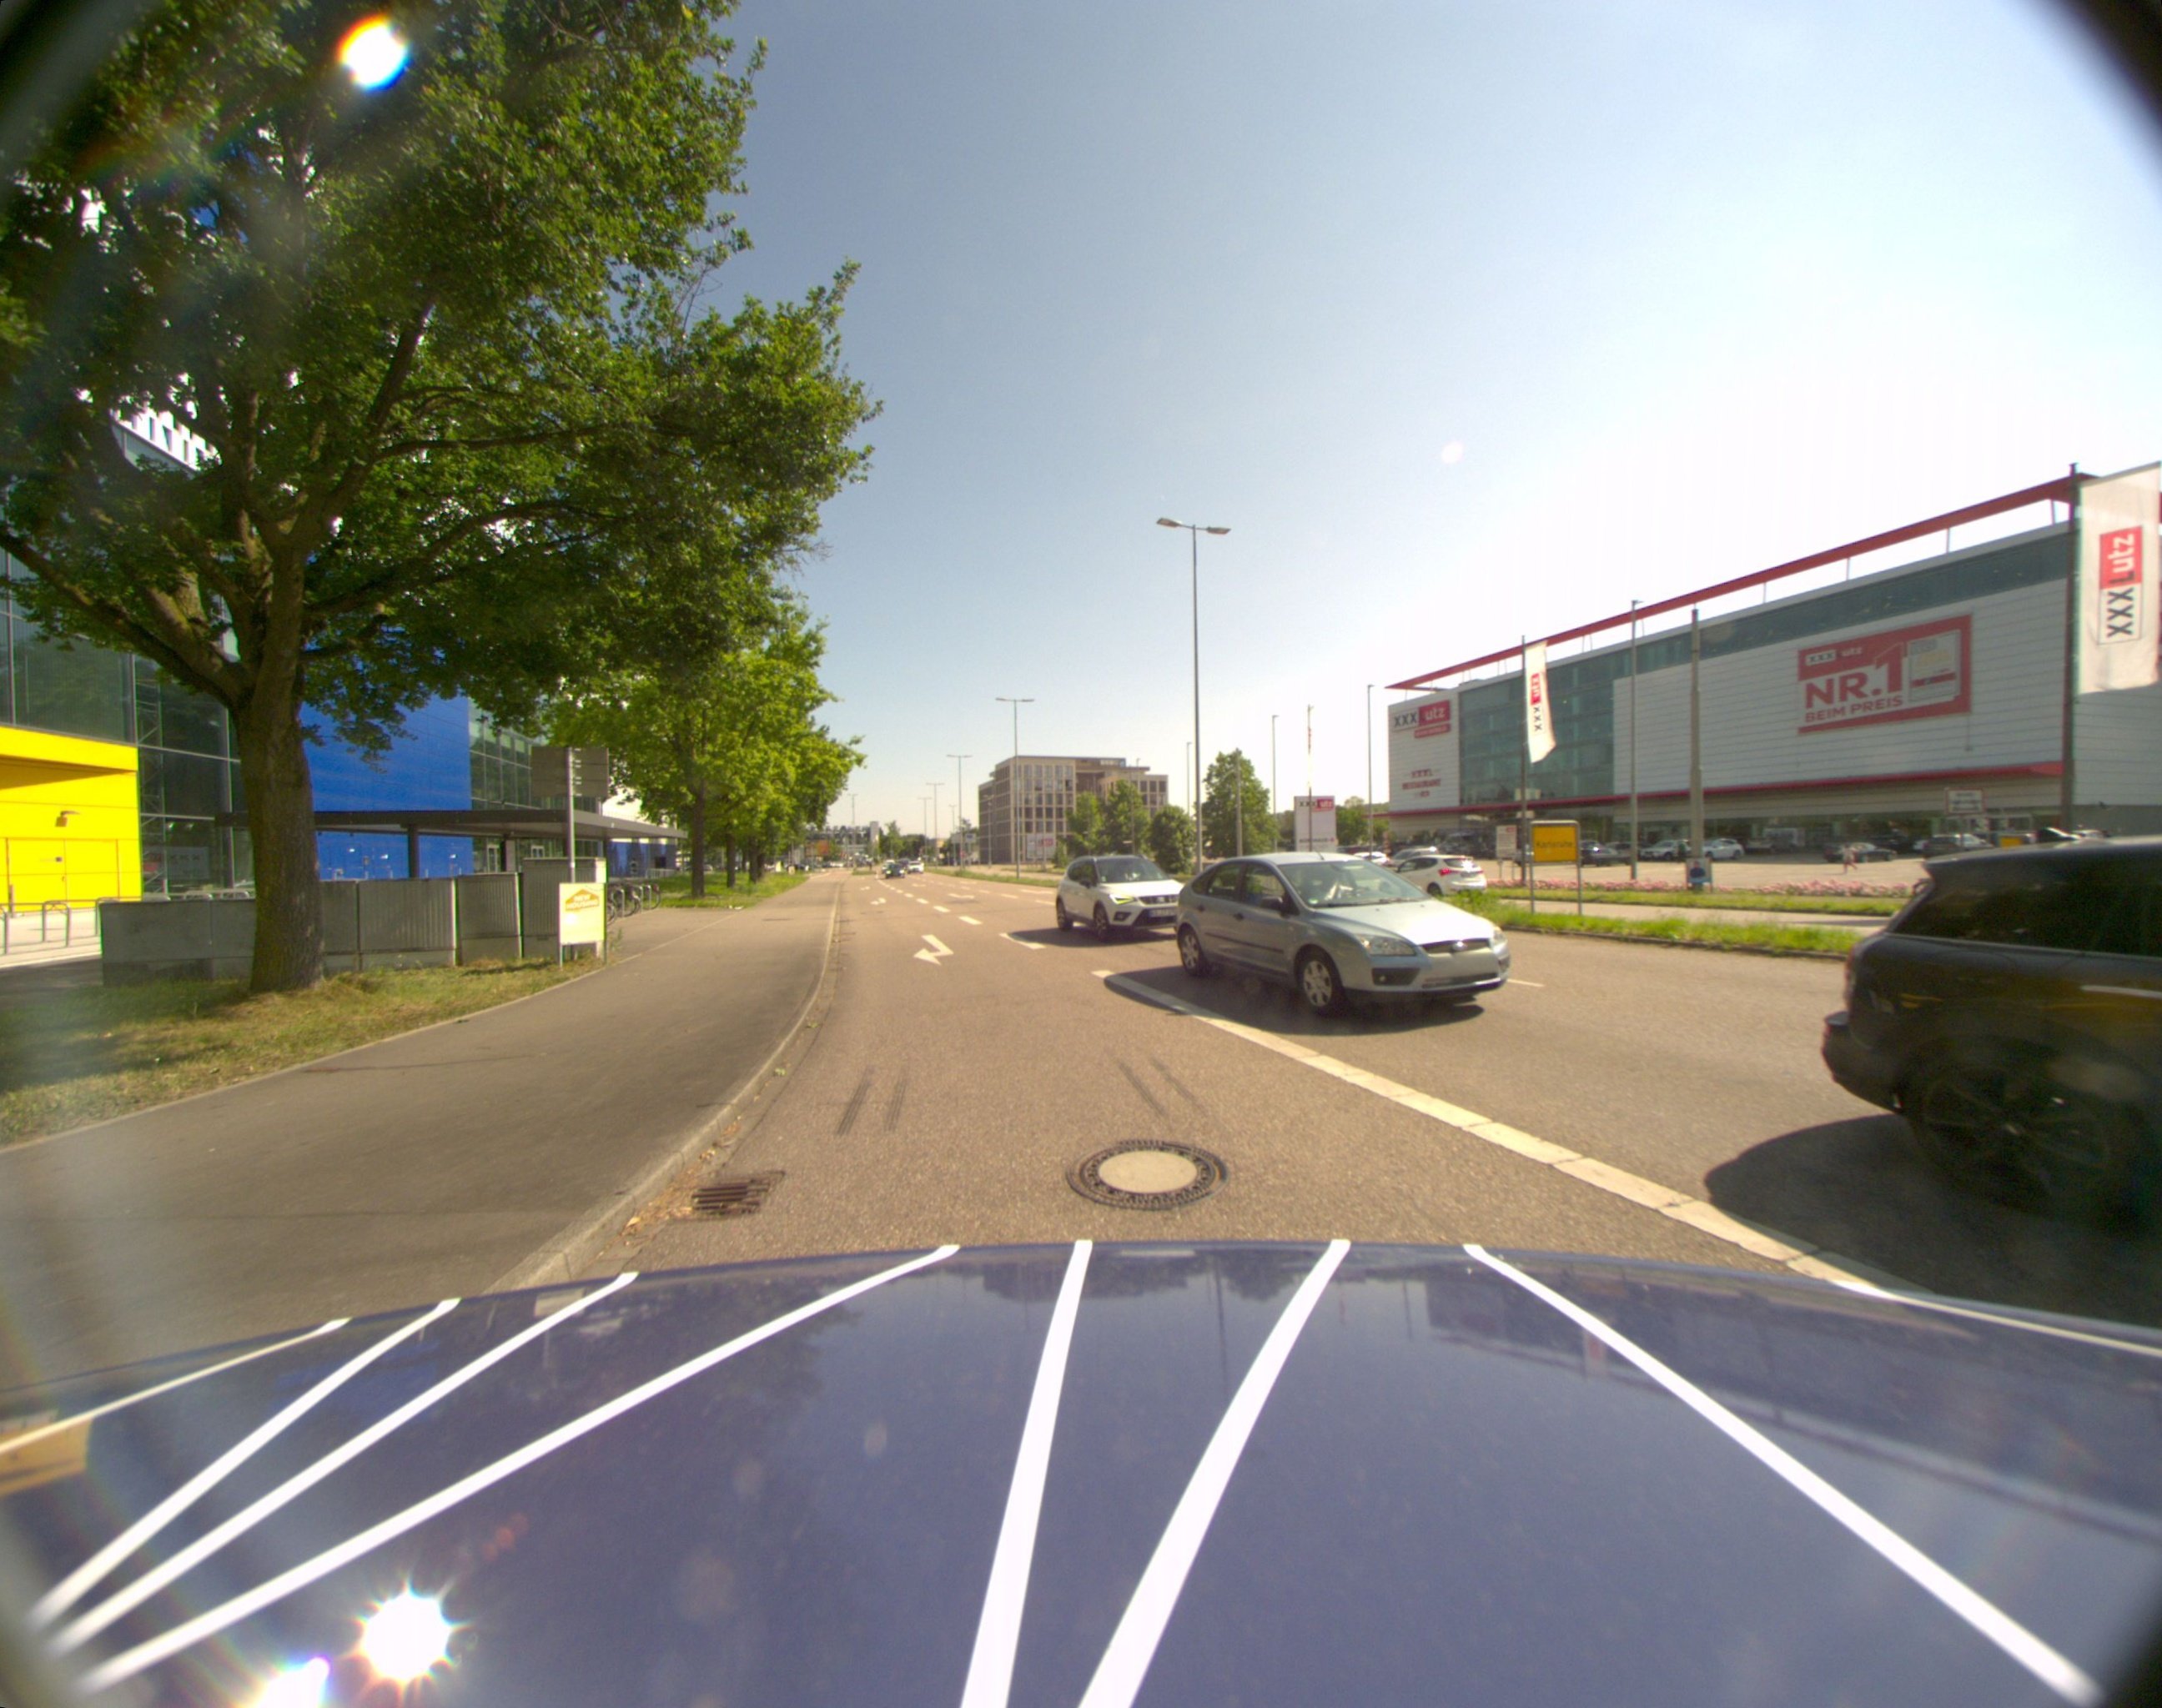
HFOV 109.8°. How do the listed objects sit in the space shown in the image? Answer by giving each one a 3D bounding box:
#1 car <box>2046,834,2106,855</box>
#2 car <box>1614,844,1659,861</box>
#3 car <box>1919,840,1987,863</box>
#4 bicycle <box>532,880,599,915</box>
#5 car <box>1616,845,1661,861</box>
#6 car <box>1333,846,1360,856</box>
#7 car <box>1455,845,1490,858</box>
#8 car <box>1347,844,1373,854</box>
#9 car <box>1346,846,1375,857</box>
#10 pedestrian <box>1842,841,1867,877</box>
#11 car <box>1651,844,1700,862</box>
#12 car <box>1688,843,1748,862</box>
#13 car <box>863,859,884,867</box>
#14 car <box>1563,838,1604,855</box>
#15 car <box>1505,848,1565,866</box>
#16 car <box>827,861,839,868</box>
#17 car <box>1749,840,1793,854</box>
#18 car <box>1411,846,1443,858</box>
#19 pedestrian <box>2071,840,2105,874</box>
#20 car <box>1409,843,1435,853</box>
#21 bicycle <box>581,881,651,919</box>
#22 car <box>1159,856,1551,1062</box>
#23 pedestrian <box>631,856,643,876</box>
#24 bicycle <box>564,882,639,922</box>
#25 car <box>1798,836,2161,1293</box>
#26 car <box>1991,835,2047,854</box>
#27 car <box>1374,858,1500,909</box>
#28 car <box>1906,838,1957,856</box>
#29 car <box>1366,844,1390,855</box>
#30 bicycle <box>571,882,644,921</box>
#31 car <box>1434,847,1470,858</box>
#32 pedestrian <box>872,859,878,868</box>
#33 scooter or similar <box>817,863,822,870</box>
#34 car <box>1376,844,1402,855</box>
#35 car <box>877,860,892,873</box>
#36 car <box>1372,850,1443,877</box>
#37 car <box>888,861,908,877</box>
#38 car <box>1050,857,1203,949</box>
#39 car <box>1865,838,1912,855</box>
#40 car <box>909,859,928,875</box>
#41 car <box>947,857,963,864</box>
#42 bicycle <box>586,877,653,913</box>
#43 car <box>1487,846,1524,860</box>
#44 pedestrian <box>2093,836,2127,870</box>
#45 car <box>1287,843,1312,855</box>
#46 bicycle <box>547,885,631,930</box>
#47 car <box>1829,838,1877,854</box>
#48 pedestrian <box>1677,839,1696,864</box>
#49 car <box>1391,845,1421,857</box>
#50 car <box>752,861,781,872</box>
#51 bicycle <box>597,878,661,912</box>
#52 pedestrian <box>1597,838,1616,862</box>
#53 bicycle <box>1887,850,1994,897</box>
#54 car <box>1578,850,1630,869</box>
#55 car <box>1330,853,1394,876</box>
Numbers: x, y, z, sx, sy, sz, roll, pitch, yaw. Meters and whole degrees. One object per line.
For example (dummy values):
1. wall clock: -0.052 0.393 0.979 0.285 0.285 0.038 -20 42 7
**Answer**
1. car: 66.854 -0.660 51.054 3.100 1.322 1.513 -1 1 -18
2. car: 46.508 -0.144 63.573 3.100 1.322 1.513 -1 1 -18
3. car: 55.410 -0.175 48.304 3.100 1.322 1.776 -1 1 -18
4. bicycle: -16.904 1.420 24.949 1.765 1.089 0.451 -1 0 -17
5. car: 46.657 -0.100 63.572 3.100 1.322 1.513 -1 1 -18
6. car: 35.250 -0.413 100.872 3.227 1.322 1.513 -1 1 -18
7. car: 41.267 -0.255 80.076 3.100 1.322 1.513 -1 1 -18
8. car: 38.859 -0.678 105.859 3.100 1.377 1.513 -1 1 -18
9. car: 36.403 -0.377 99.009 3.227 1.322 1.513 -1 1 -18
10. pedestrian: 40.736 0.250 40.017 0.782 1.884 0.499 0 0 13
11. car: 47.659 -0.086 60.911 3.419 1.322 1.586 -1 0 -22
12. car: 49.214 -0.128 58.684 4.318 1.322 1.513 -1 1 -18
13. car: -47.899 2.068 175.273 4.485 1.578 1.977 -1 0 -16
14. car: 49.657 -0.766 75.069 3.576 1.620 1.660 -1 0 -22
15. car: 36.060 0.220 60.363 4.507 1.322 1.513 -1 1 -18
16. car: -55.292 2.354 169.574 2.001 1.452 3.996 -1 0 -12
17. car: 60.866 -0.611 67.003 3.100 1.218 1.513 -1 1 -18
18. car: 40.077 -0.256 88.002 3.100 1.322 1.701 -1 1 -18
19. pedestrian: 61.059 0.176 46.079 0.950 2.002 0.974 -1 0 -16
20. car: 47.342 -0.805 105.412 3.100 1.322 1.513 -1 1 -18
21. bicycle: -14.287 1.406 23.387 1.765 1.089 0.451 -1 0 -17
22. car: 2.501 0.843 8.152 1.713 1.564 4.168 -1 0 -19
23. pedestrian: -36.350 0.977 62.168 0.691 1.602 0.770 0 0 -21
24. bicycle: -13.872 1.374 21.997 1.765 1.089 0.451 -1 0 -17
25. car: 4.730 0.668 1.714 1.744 1.503 4.194 -2 0 -17
26. car: 66.718 -0.679 54.037 3.100 1.322 1.513 -1 1 -18
27. car: 12.265 0.957 26.482 1.800 1.538 4.081 -2 0 -14
28. car: 63.978 -0.531 57.157 3.100 1.218 1.439 -1 1 -18
29. car: 40.252 -0.632 102.934 2.825 1.322 1.294 -1 1 -18
30. bicycle: -14.006 1.386 22.503 1.765 1.089 0.451 -1 0 -17
31. car: 40.452 -0.173 82.772 3.513 1.192 1.478 -1 1 -18
32. pedestrian: -37.804 1.740 139.454 0.705 1.769 0.960 -1 0 8
33. scooter or similar: -41.541 1.975 120.801 0.402 1.160 1.184 -1 2 0
34. car: 40.680 -0.602 100.392 3.100 1.322 1.217 -1 1 -18
35. car: -28.121 1.758 108.788 1.835 1.703 3.760 -1 1 -17
36. car: 23.148 0.631 53.911 4.430 1.832 1.942 -1 1 -18
37. car: -18.360 1.487 76.237 1.773 1.456 4.232 -2 1 -15
38. car: 0.726 0.900 14.731 1.637 1.489 3.865 -2 -2 -17
39. car: 63.570 -0.617 59.833 3.100 1.260 1.364 -1 1 -18
40. car: -20.784 1.611 96.890 2.028 1.827 4.305 -1 1 -17
41. car: -34.815 1.833 210.061 3.996 2.002 2.000 -1 0 4
42. bicycle: -14.858 1.301 24.501 1.765 1.089 0.462 -1 0 -17
43. car: 42.296 -0.134 75.761 3.100 1.286 1.513 -1 1 -18
44. pedestrian: 62.541 -0.057 46.194 0.950 2.002 0.974 0 0 -16
45. car: 31.977 -0.732 111.112 3.100 1.748 1.689 -1 1 -18
46. bicycle: -12.855 1.390 19.900 1.765 1.089 0.451 -1 0 -17
47. car: 63.412 -0.665 62.401 3.100 1.322 1.513 -1 1 -18
48. pedestrian: 44.266 -0.164 55.564 0.857 1.846 0.751 0 0 -17
49. car: 38.799 -0.368 90.694 3.100 1.322 1.513 -1 1 -18
50. car: -59.799 2.387 144.571 5.004 1.996 1.738 -1 2 -19
51. bicycle: -15.099 1.366 25.416 1.765 1.089 0.451 0 0 -17
52. pedestrian: 44.912 -0.320 64.989 0.863 2.001 1.022 0 -1 -3
53. bicycle: 20.177 0.435 17.886 0.332 1.017 1.640 0 1 -21
54. car: 38.018 0.400 55.263 3.100 1.322 1.513 -1 1 -18
55. car: 21.753 0.774 58.852 4.431 1.618 1.868 -1 1 -19
